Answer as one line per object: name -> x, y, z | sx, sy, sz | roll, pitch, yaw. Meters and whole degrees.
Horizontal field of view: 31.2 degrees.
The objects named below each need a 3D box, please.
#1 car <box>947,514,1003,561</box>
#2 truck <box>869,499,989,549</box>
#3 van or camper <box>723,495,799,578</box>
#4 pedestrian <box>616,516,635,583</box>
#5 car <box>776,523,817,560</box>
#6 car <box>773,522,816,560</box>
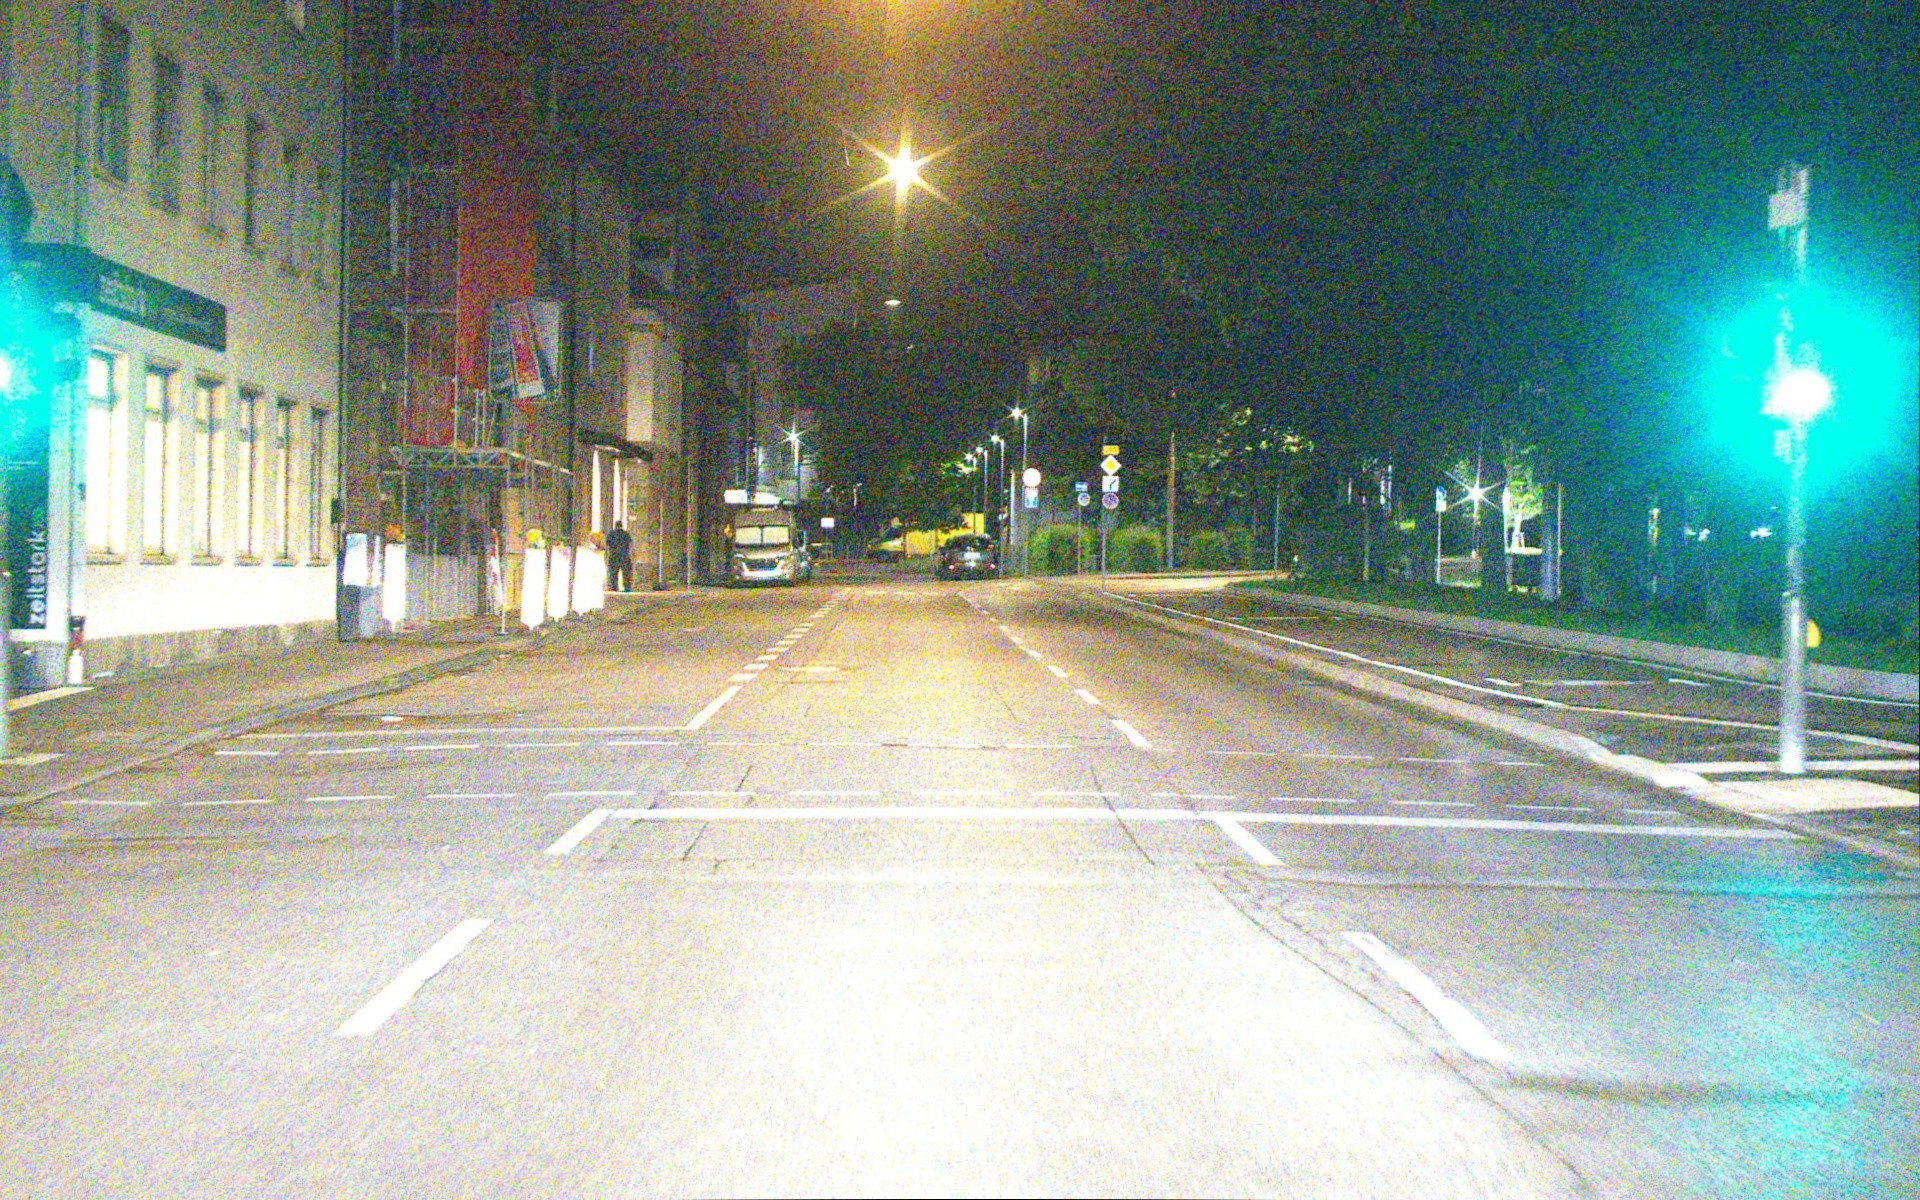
car -> 0.539, -2.203, 121.128 | 1.884, 1.597, 4.107 | -1, 1, 1
truck -> -1.796, -4.398, 198.808 | 6.775, 2.834, 2.000 | 1, 1, -4
van or camper -> -6.374, -2.038, 110.644 | 2.158, 2.527, 6.227 | -2, 1, -1
pedestrian -> -8.497, -1.288, 87.211 | 0.415, 1.702, 0.442 | 0, 0, -14
car -> -7.109, -2.543, 149.853 | 1.677, 1.561, 4.105 | 0, 0, -1
car -> -6.941, -2.455, 144.072 | 1.704, 1.504, 4.100 | 1, 0, -2
